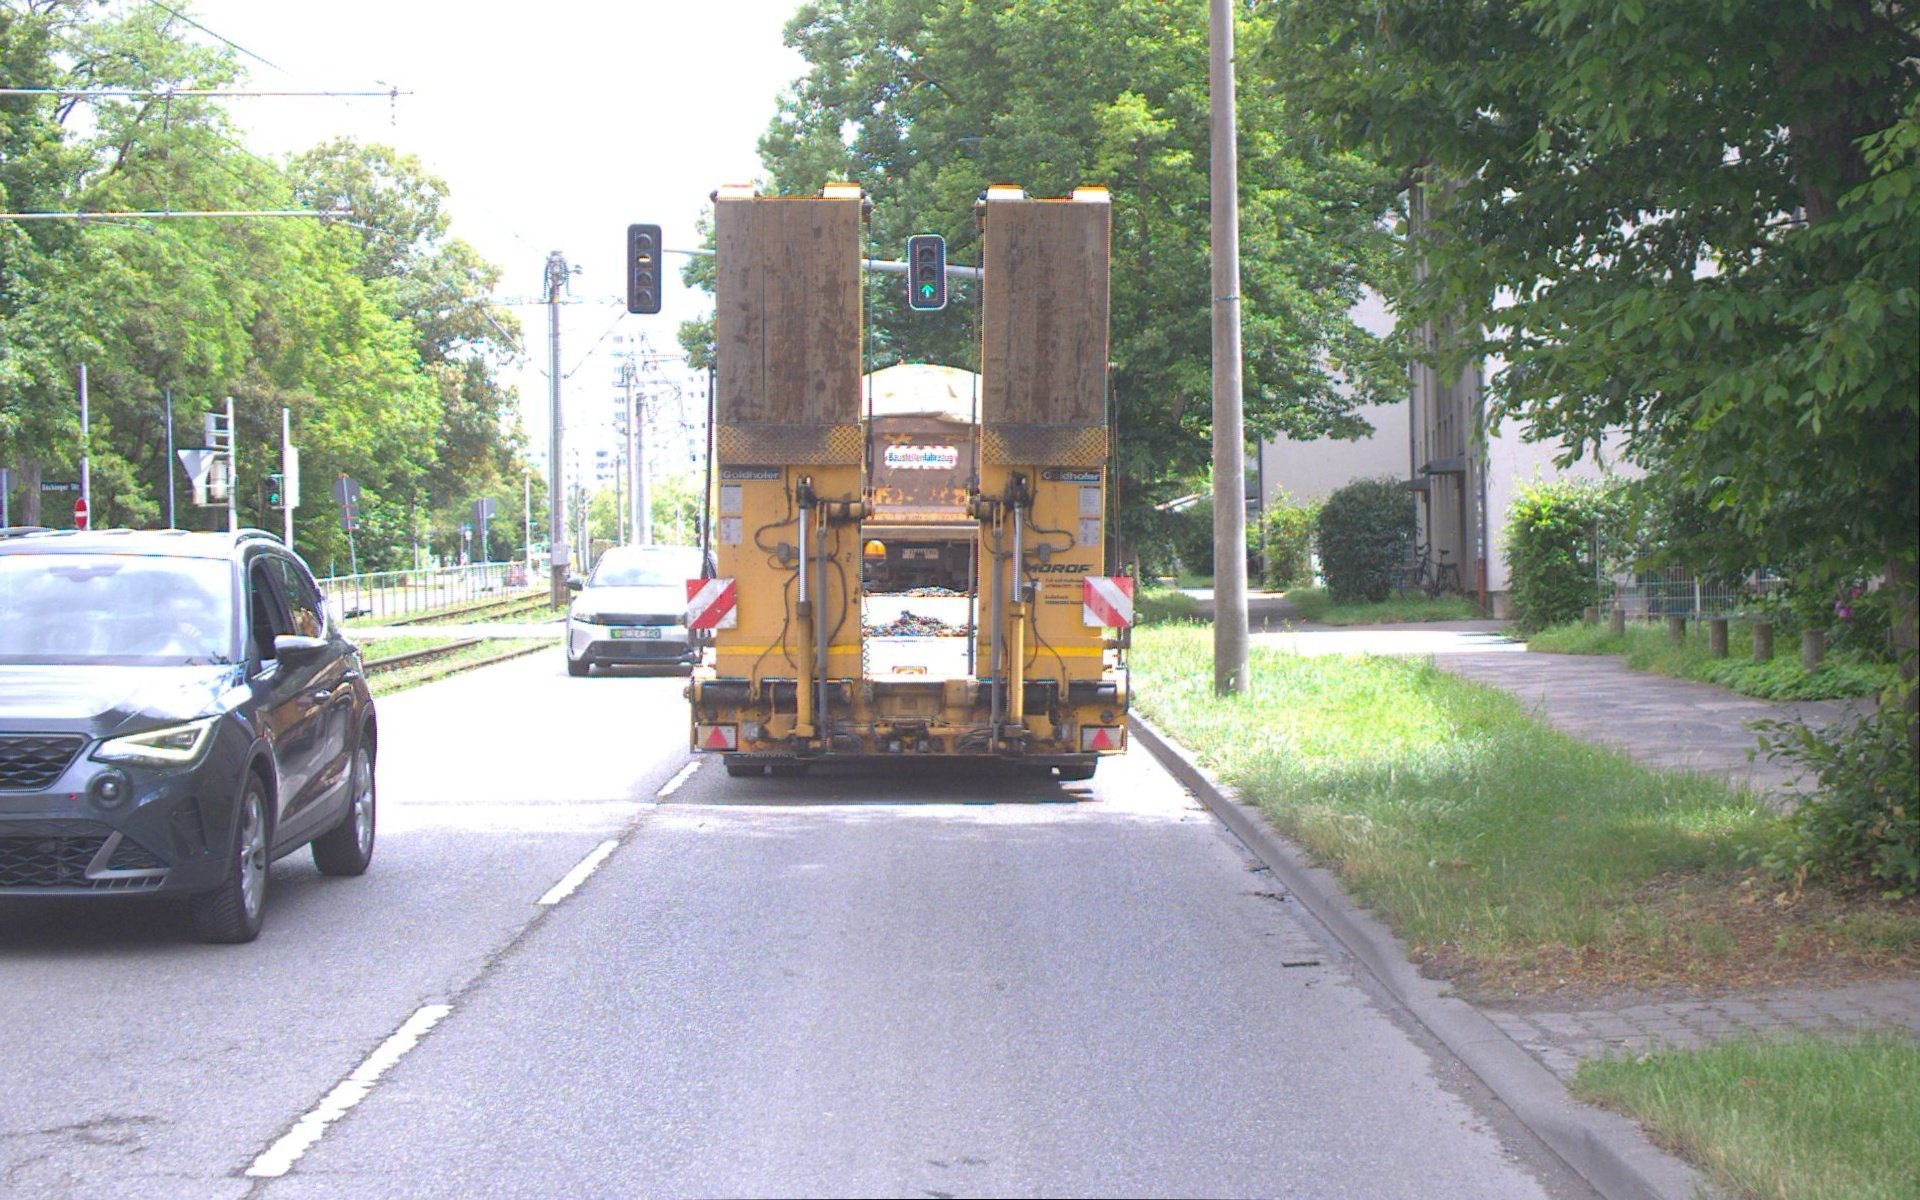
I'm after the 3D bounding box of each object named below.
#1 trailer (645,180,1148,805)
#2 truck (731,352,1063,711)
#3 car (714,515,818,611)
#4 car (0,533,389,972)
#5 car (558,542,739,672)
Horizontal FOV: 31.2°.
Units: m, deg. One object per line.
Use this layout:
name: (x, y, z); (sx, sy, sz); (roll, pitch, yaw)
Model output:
trailer: (-0.471, -0.706, 24.993); (2.822, 3.512, 11.053); (0, 1, -1)
truck: (-0.610, -0.677, 34.348); (2.917, 3.156, 7.681); (1, 1, -1)
car: (-4.003, -0.787, 71.530); (1.942, 1.933, 4.317); (0, 1, 0)
car: (-3.424, 0.490, 13.805); (1.650, 1.515, 3.866); (0, 1, 0)
car: (-3.521, 0.044, 39.466); (1.730, 1.412, 3.984); (0, 1, 0)
